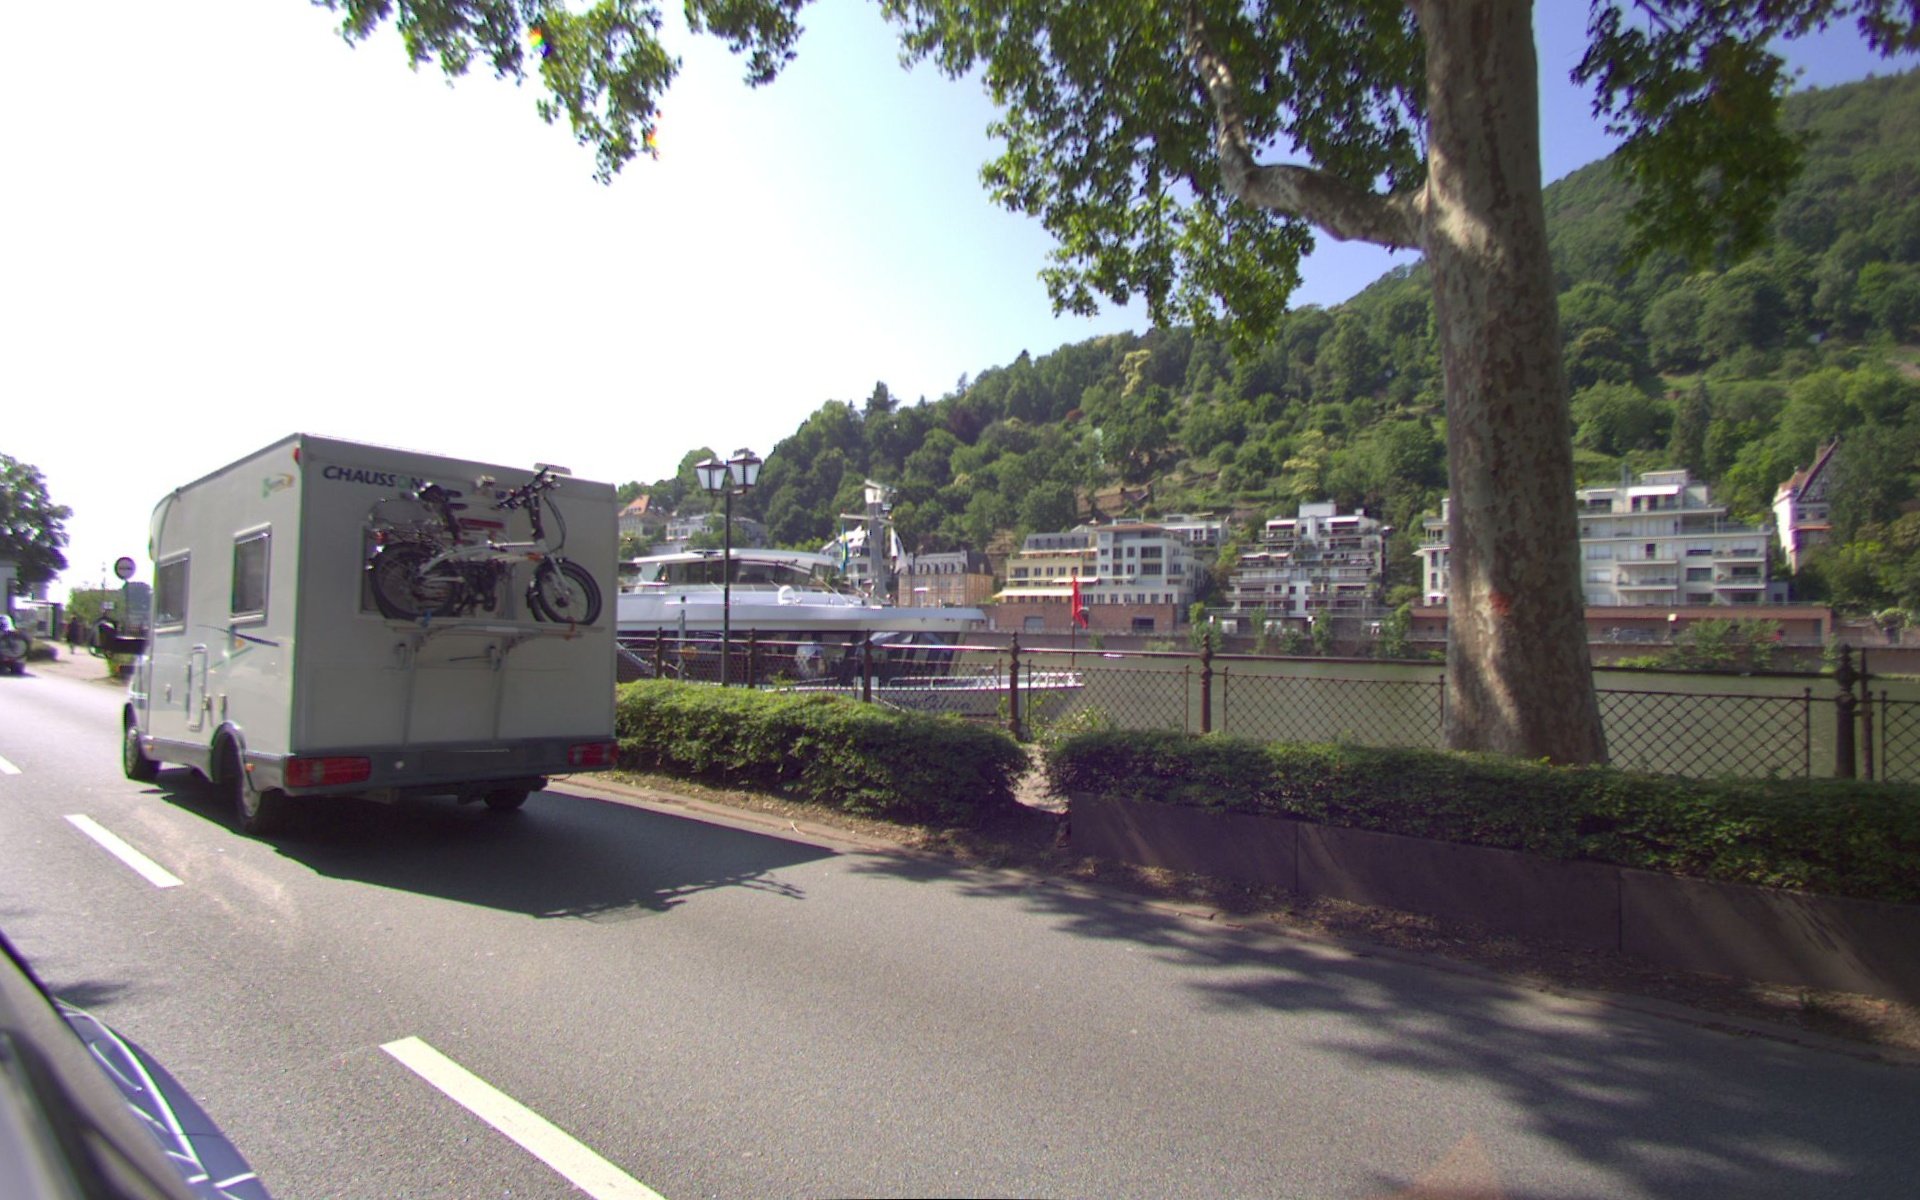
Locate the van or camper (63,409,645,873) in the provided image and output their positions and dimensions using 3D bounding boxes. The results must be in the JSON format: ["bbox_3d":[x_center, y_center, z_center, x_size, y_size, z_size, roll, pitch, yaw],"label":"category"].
[{"bbox_3d":[-5.555,0.315,8.762,6.259,2.682,2.299,-1,-4,40],"label":"van or camper"}]

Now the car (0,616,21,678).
[{"bbox_3d":[-26.867,1.220,27.265,3.957,1.625,1.802,-1,-4,41],"label":"car"}]

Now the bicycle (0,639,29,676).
[{"bbox_3d":[-25.005,1.458,25.707,0.955,0.933,1.849,-1,-4,41],"label":"bicycle"}]
